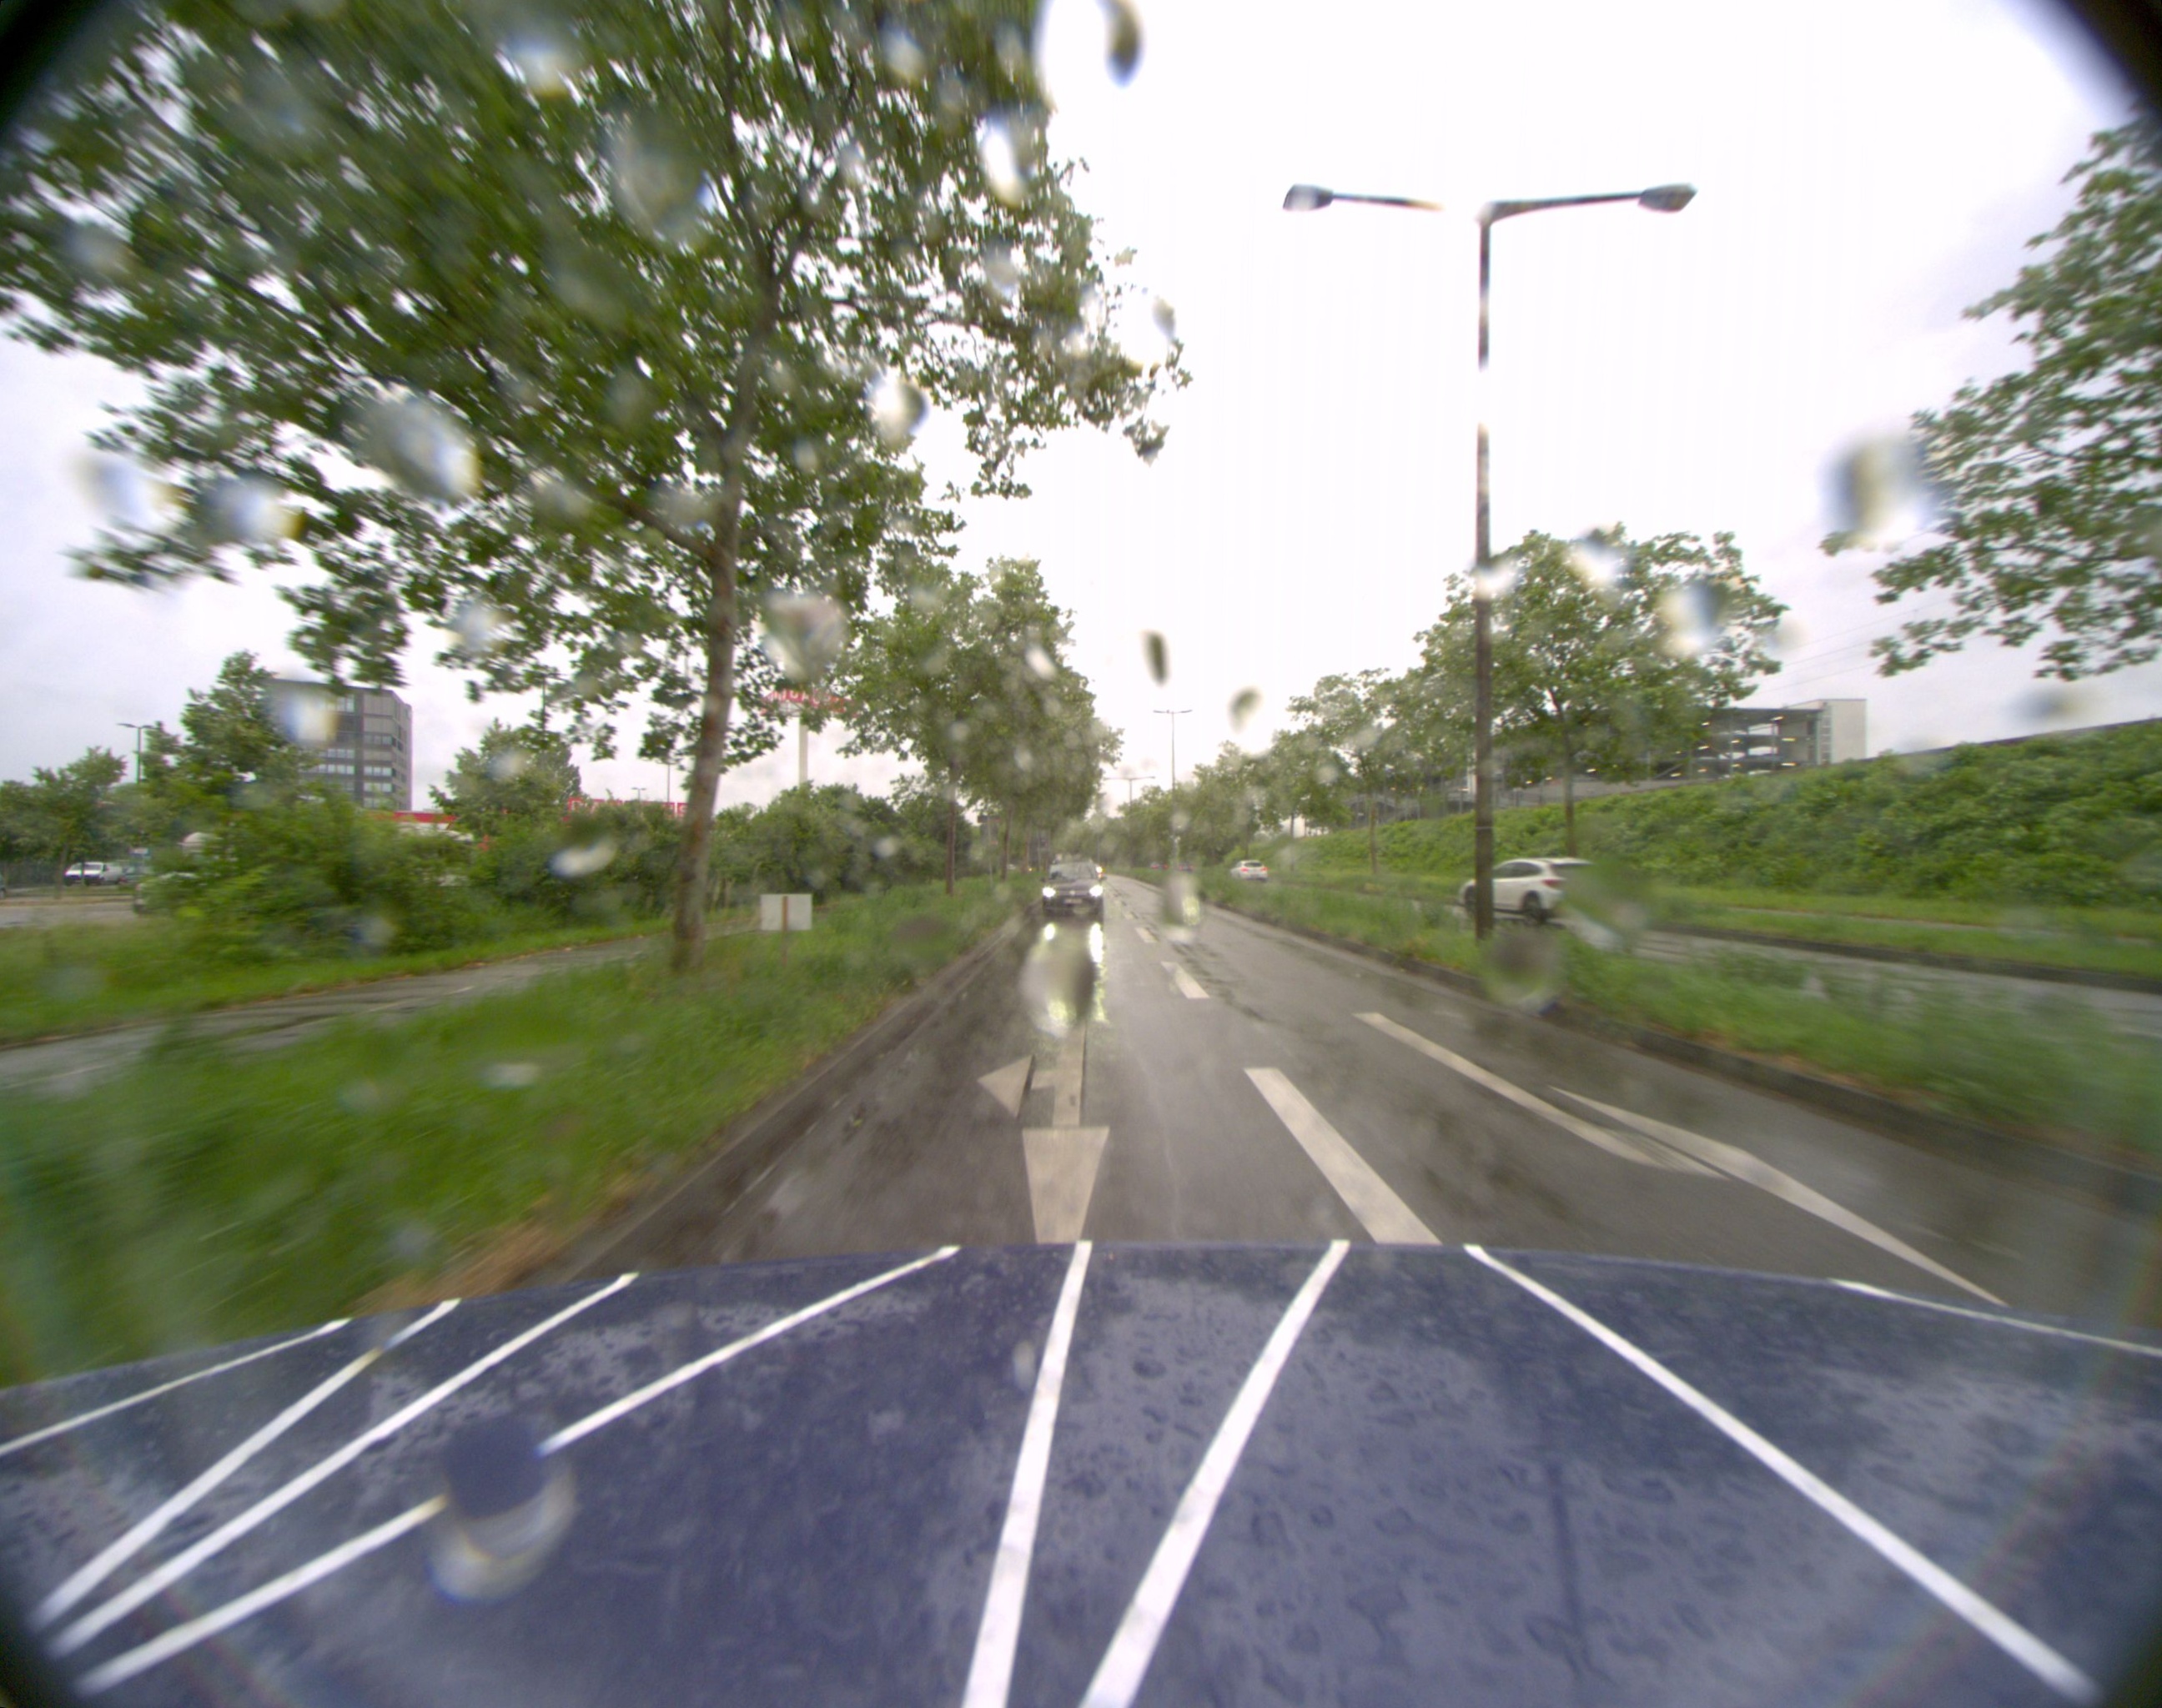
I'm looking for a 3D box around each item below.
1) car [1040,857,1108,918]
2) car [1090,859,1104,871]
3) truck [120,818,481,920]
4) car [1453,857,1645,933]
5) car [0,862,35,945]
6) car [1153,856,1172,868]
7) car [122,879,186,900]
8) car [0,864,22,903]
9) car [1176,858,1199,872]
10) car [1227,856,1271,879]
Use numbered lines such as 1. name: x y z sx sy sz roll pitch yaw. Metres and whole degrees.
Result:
1. car: -0.115 0.968 24.014 1.788 1.605 4.718 -2 0 3
2. car: 2.062 1.473 99.904 1.729 1.470 4.000 -2 0 1
3. truck: -19.954 0.342 19.775 6.552 2.291 2.219 -2 1 -6
4. car: 10.942 0.874 18.234 1.861 1.579 4.518 0 0 1
5. car: -19.854 0.896 11.865 3.998 1.357 1.999 -2 1 -3
6. car: 10.359 0.994 96.913 1.936 1.436 4.496 -1 0 0
7. car: -67.384 2.531 55.302 1.864 1.348 3.866 -1 0 -33
8. car: -48.824 1.313 33.178 2.004 1.707 3.989 0 0 -39
9. car: 11.341 1.156 80.843 1.936 1.436 3.707 -1 0 0
10. car: 11.316 0.870 51.552 1.936 1.436 4.657 -1 0 0
